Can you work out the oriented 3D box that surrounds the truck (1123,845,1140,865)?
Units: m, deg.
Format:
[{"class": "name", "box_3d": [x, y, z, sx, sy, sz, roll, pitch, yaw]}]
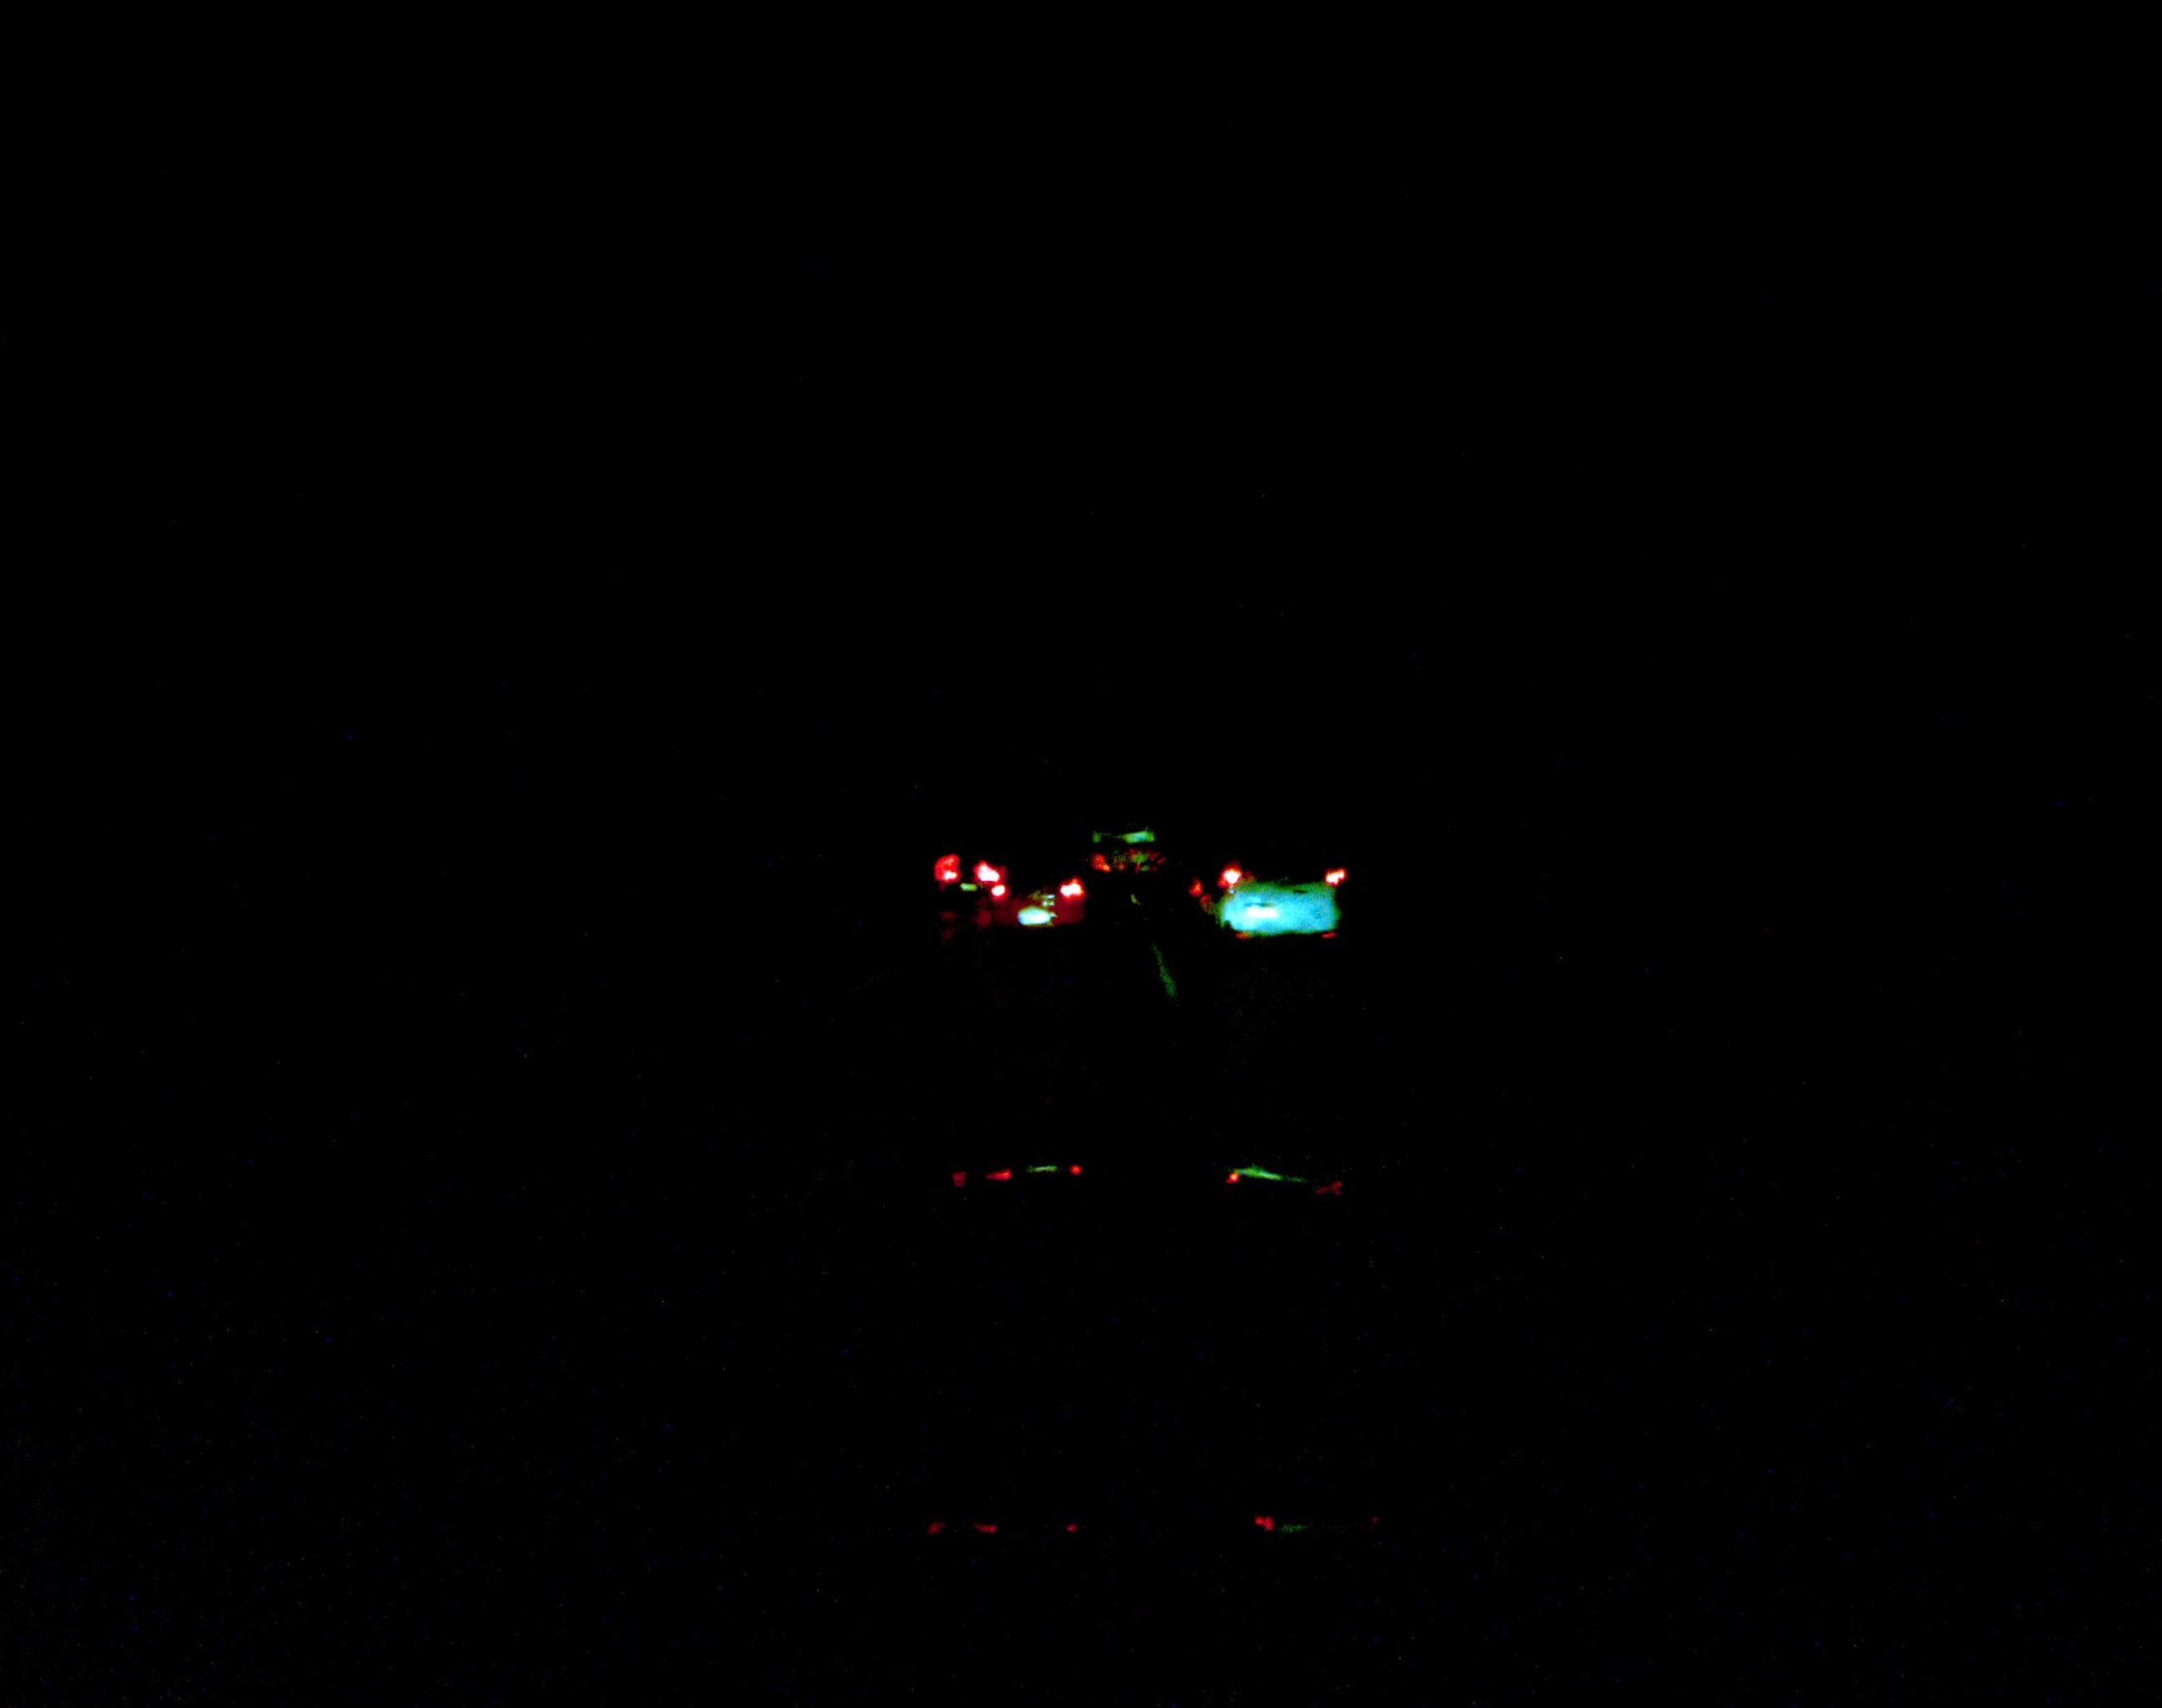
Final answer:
[{"class": "truck", "box_3d": [13.491, 0.367, 219.040, 3.809, 4.915, 11.610, -5, -1, 2]}]

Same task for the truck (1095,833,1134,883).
[{"class": "truck", "box_3d": [4.115, 0.525, 99.506, 4.151, 5.544, 13.079, -3, -1, 2]}]

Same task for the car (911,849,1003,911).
[{"class": "car", "box_3d": [-3.983, 0.829, 27.112, 1.985, 1.777, 4.890, -3, -1, 3]}]

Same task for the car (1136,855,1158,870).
[{"class": "car", "box_3d": [6.134, 0.803, 76.180, 1.883, 1.354, 4.001, 0, 0, 1]}]

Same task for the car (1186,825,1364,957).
[{"class": "car", "box_3d": [3.055, 0.528, 14.013, 1.946, 1.792, 5.126, -2, 0, 2]}]

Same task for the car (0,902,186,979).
[{"class": "car", "box_3d": [-24.705, 2.002, 19.310, 1.986, 1.486, 4.410, 0, 0, 2]}]

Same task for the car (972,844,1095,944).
[{"class": "car", "box_3d": [-0.778, 0.712, 15.956, 1.908, 1.594, 4.235, -3, -1, 2]}]
